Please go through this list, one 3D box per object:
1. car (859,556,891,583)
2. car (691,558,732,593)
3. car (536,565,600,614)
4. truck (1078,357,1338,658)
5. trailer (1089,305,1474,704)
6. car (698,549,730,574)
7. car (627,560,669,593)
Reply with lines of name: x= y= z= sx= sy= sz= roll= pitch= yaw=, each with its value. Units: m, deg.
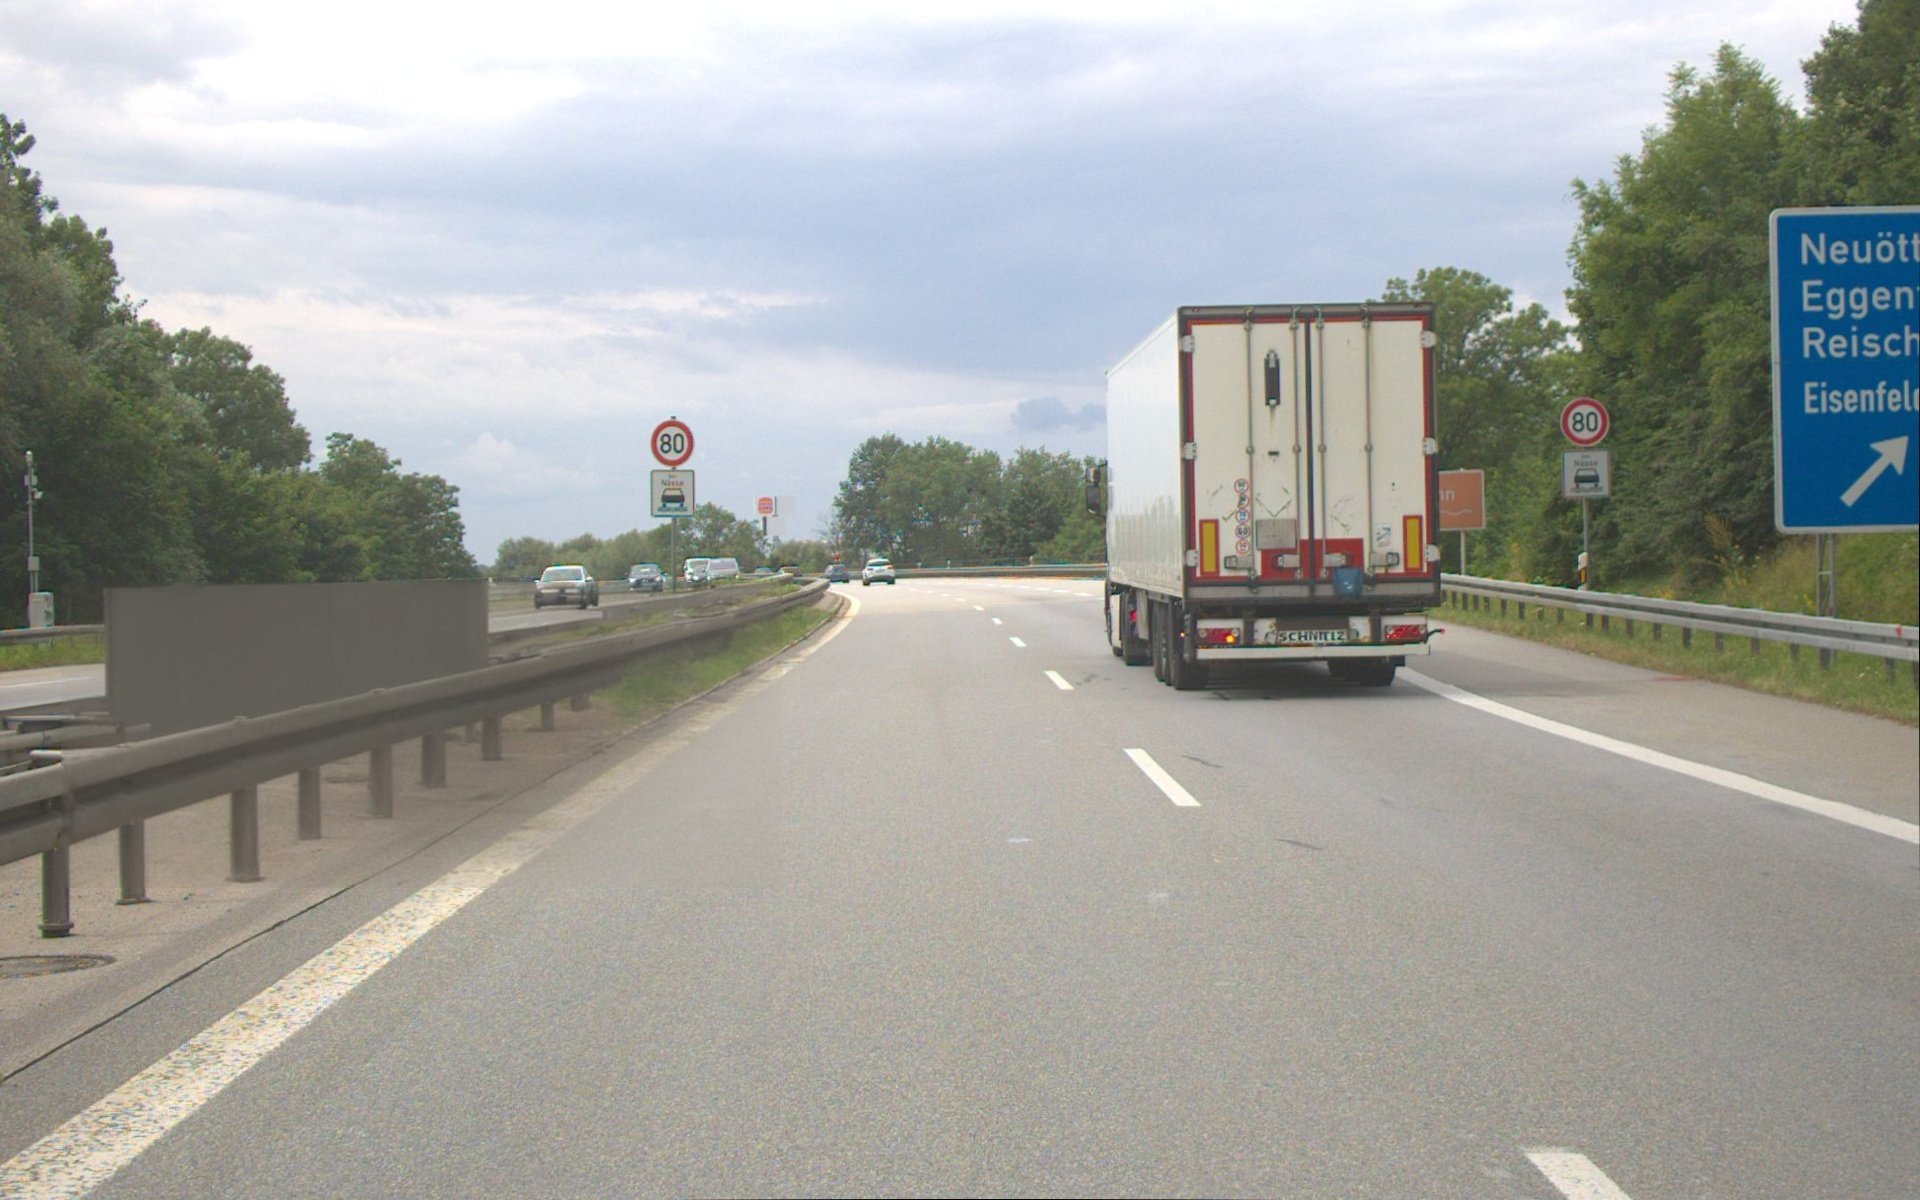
car: x=-5.470 y=-1.930 z=221.236 sx=1.902 sy=1.634 sz=4.396 roll=-2 pitch=0 yaw=-2
car: x=-12.495 y=-1.238 z=173.170 sx=1.725 sy=1.645 sz=4.223 roll=-2 pitch=2 yaw=0
car: x=-12.899 y=-0.347 z=113.304 sx=1.650 sy=1.487 sz=4.283 roll=-2 pitch=1 yaw=0
truck: x=3.386 y=-1.270 z=48.481 sx=3.062 sy=3.878 sz=6.000 roll=-2 pitch=1 yaw=-1
trailer: x=3.464 y=-1.059 z=41.128 sx=3.062 sy=3.877 sz=13.791 roll=-2 pitch=1 yaw=-1
car: x=-15.779 y=-2.460 z=220.666 sx=1.845 sy=1.606 sz=4.947 roll=0 pitch=1 yaw=-2
car: x=-15.946 y=-1.197 z=175.685 sx=1.729 sy=1.554 sz=4.332 roll=-2 pitch=1 yaw=0
